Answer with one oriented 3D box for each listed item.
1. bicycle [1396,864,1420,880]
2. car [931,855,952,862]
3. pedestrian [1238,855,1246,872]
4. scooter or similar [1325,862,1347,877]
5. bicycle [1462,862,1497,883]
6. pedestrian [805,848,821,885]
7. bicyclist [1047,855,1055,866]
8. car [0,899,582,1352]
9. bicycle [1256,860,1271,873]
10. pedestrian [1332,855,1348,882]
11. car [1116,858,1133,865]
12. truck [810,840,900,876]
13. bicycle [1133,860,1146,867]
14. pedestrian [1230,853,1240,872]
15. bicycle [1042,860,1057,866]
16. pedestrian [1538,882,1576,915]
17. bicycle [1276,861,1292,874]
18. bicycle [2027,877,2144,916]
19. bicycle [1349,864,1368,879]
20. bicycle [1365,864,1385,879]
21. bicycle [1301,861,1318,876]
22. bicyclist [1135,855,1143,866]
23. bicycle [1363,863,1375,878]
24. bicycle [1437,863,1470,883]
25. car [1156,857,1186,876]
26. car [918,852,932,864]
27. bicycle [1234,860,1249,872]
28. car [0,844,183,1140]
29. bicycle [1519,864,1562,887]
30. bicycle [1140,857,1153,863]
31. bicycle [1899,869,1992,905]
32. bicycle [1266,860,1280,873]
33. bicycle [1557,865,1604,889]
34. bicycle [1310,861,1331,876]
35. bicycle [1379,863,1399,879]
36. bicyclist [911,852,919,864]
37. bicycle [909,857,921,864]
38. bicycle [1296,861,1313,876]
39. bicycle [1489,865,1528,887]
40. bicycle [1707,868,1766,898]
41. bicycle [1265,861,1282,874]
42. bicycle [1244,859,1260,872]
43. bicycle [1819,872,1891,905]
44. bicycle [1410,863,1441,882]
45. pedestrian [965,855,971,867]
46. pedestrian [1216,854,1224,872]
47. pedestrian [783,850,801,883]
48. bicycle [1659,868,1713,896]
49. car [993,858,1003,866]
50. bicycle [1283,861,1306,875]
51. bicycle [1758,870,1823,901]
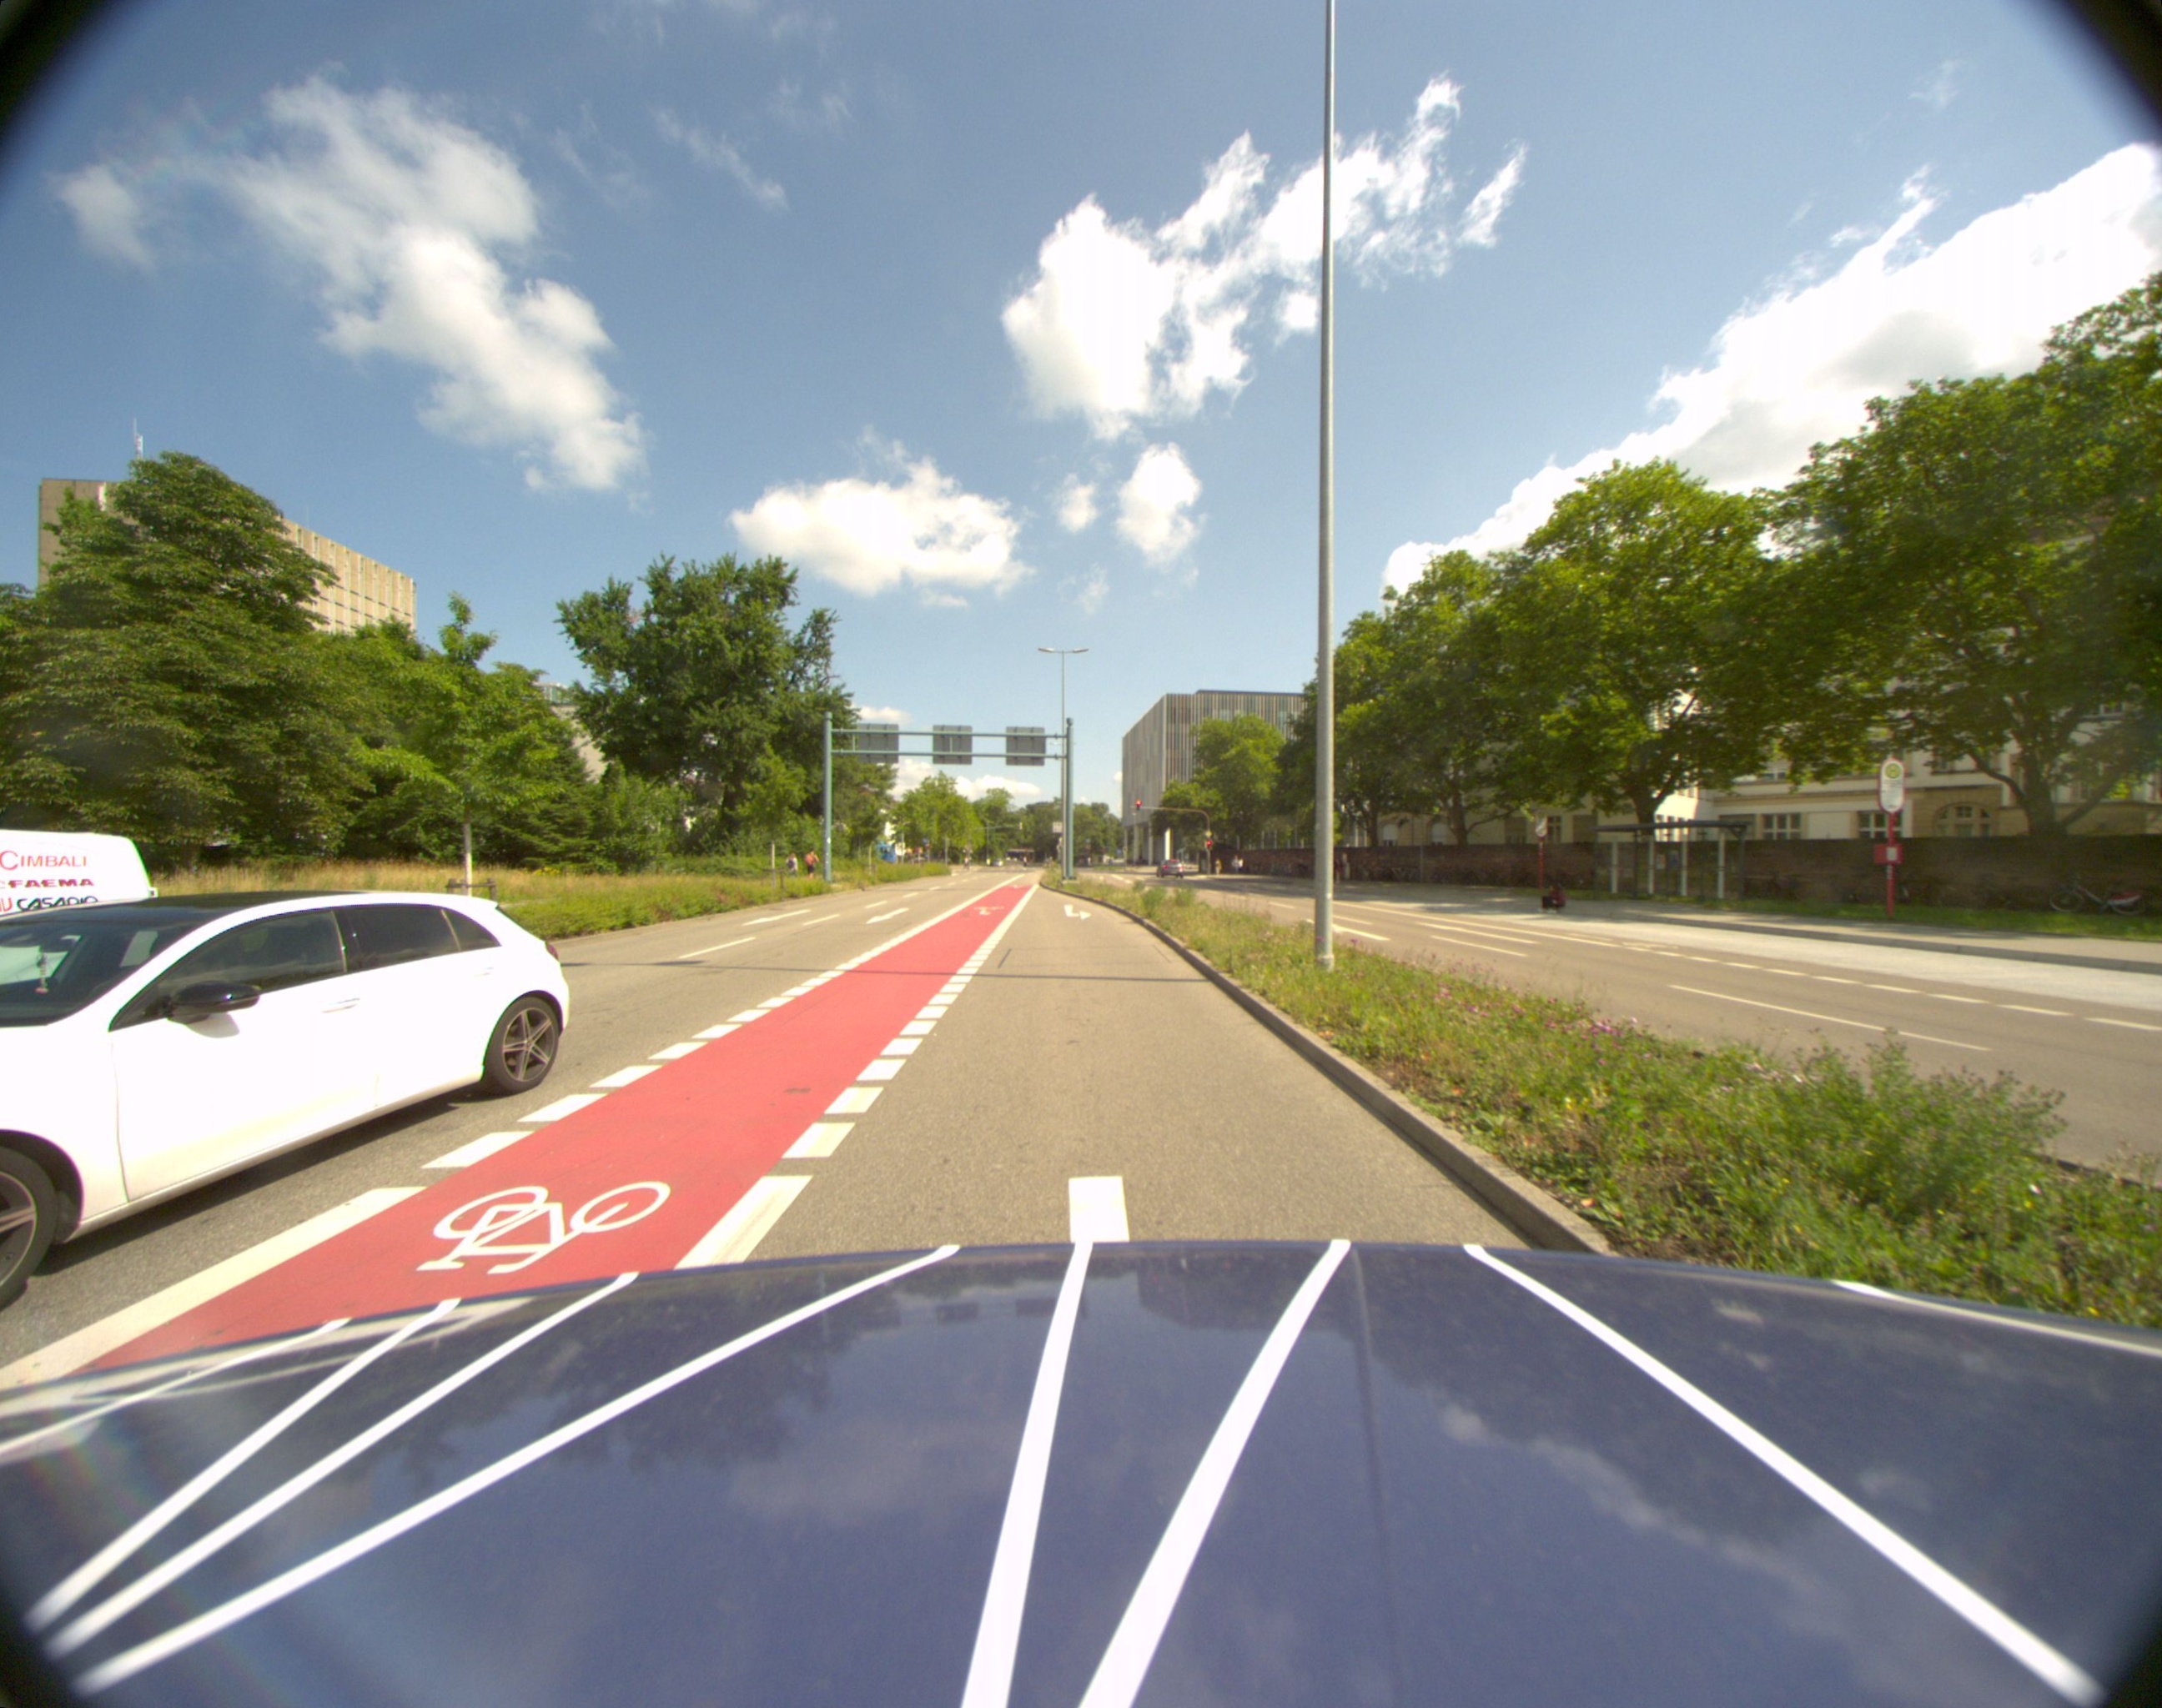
[{"bbox_3d":[19.657,1.063,45.730,0.371,0.949,1.624,0,0,-17],"label":"bicycle"},{"bbox_3d":[-27.596,0.922,150.233,4.002,1.416,1.755,0,0,-13],"label":"car"},{"bbox_3d":[14.313,0.812,67.656,0.477,1.531,0.616,0,0,-7],"label":"pedestrian"},{"bbox_3d":[17.840,1.065,53.129,0.582,1.042,1.879,0,0,-11],"label":"scooter or similar"},{"bbox_3d":[21.114,0.972,40.292,0.584,1.067,1.753,0,0,-19],"label":"bicycle"},{"bbox_3d":[-13.120,0.608,37.254,0.568,1.791,0.638,0,0,-2],"label":"pedestrian"},{"bbox_3d":[-3.696,0.774,92.719,0.932,1.341,0.444,0,1,-15],"label":"bicyclist"},{"bbox_3d":[-4.757,1.044,3.601,1.909,1.415,4.384,0,0,0],"label":"car"},{"bbox_3d":[15.577,1.043,64.907,0.566,1.042,1.879,0,0,-11],"label":"bicycle"},{"bbox_3d":[15.404,0.840,45.155,0.658,1.600,0.744,-1,1,-1],"label":"pedestrian"},{"bbox_3d":[10.841,1.801,190.264,3.998,1.676,1.646,0,0,-3],"label":"car"},{"bbox_3d":[-24.280,0.424,81.700,9.199,3.777,2.661,0,1,-20],"label":"truck"},{"bbox_3d":[7.909,1.304,102.769,1.771,0.887,0.639,0,0,30],"label":"bicycle"},{"bbox_3d":[13.550,0.744,66.982,0.643,1.641,0.731,0,0,-7],"label":"pedestrian"},{"bbox_3d":[-3.840,1.067,92.684,1.757,0.771,0.444,0,0,-15],"label":"bicycle"},{"bbox_3d":[14.481,1.343,23.133,0.696,0.957,0.743,0,0,-3],"label":"pedestrian"},{"bbox_3d":[16.239,1.061,60.801,0.371,1.042,1.879,0,0,-11],"label":"bicycle"},{"bbox_3d":[28.698,1.182,21.762,0.473,1.005,1.960,0,0,-22],"label":"bicycle"},{"bbox_3d":[18.406,1.164,50.430,0.368,0.949,1.400,0,0,-17],"label":"bicycle"},{"bbox_3d":[18.923,1.128,48.909,0.368,0.949,1.400,0,0,-17],"label":"bicycle"},{"bbox_3d":[17.103,1.070,56.902,0.395,1.042,1.879,0,0,-11],"label":"bicycle"},{"bbox_3d":[7.833,0.924,102.814,0.944,1.456,0.633,0,0,29],"label":"bicyclist"},{"bbox_3d":[18.377,1.056,48.469,0.367,0.949,1.626,0,0,7],"label":"bicycle"},{"bbox_3d":[20.574,1.032,41.999,0.584,1.067,1.753,0,0,-17],"label":"bicycle"},{"bbox_3d":[7.140,0.965,60.649,1.705,1.436,4.145,1,0,-2],"label":"car"},{"bbox_3d":[-26.066,0.684,127.356,2.000,2.002,4.899,0,0,-8],"label":"car"},{"bbox_3d":[14.626,1.055,69.266,0.632,1.042,1.879,0,0,-11],"label":"bicycle"},{"bbox_3d":[-7.763,0.863,3.331,1.947,1.859,4.825,0,0,0],"label":"car"},{"bbox_3d":[22.194,1.043,36.723,0.585,1.067,1.752,0,0,-23],"label":"bicycle"},{"bbox_3d":[12.333,1.077,143.418,2.218,1.090,0.722,0,0,-10],"label":"bicycle"},{"bbox_3d":[27.540,1.044,24.242,0.584,1.067,1.867,0,0,-19],"label":"bicycle"},{"bbox_3d":[15.897,1.044,62.950,0.371,1.042,1.879,0,0,-11],"label":"bicycle"},{"bbox_3d":[22.946,1.041,34.944,0.585,1.067,1.752,0,0,-23],"label":"bicycle"},{"bbox_3d":[17.332,1.013,55.021,0.582,1.042,1.879,0,0,-11],"label":"bicycle"},{"bbox_3d":[19.220,1.067,47.453,0.368,0.949,1.400,0,0,-17],"label":"bicycle"},{"bbox_3d":[-20.473,0.491,93.723,0.916,1.498,0.614,0,1,38],"label":"bicyclist"},{"bbox_3d":[-20.500,0.807,93.737,1.510,0.828,0.621,0,0,38],"label":"bicycle"},{"bbox_3d":[16.721,1.077,56.935,0.374,1.042,1.879,0,0,-11],"label":"bicycle"},{"bbox_3d":[21.635,1.087,38.485,0.585,1.067,1.752,0,0,-23],"label":"bicycle"},{"bbox_3d":[25.215,1.097,29.258,0.585,1.067,1.628,0,0,-23],"label":"bicycle"},{"bbox_3d":[15.541,1.060,61.437,0.594,1.042,1.879,0,0,-11],"label":"bicycle"},{"bbox_3d":[15.060,1.007,67.008,0.632,1.042,1.879,0,0,-11],"label":"bicycle"},{"bbox_3d":[26.591,1.166,26.123,0.585,1.067,1.628,0,0,-23],"label":"bicycle"},{"bbox_3d":[19.983,1.055,44.093,0.584,1.067,1.753,0,0,-17],"label":"bicycle"},{"bbox_3d":[-15.412,0.902,103.429,0.741,1.640,0.639,0,0,5],"label":"pedestrian"},{"bbox_3d":[12.973,0.857,70.853,0.562,1.641,0.726,0,0,-7],"label":"pedestrian"},{"bbox_3d":[-14.088,0.616,37.017,0.624,1.571,0.708,0,0,-2],"label":"pedestrian"},{"bbox_3d":[24.523,1.136,30.832,0.585,1.067,1.628,0,0,-23],"label":"bicycle"},{"bbox_3d":[-15.619,1.463,142.487,1.709,1.321,3.997,3,0,-7],"label":"car"},{"bbox_3d":[16.538,1.071,58.807,0.594,1.042,1.877,0,0,-27],"label":"bicycle"},{"bbox_3d":[25.854,1.137,27.706,0.585,1.067,1.628,0,0,-23],"label":"bicycle"}]
